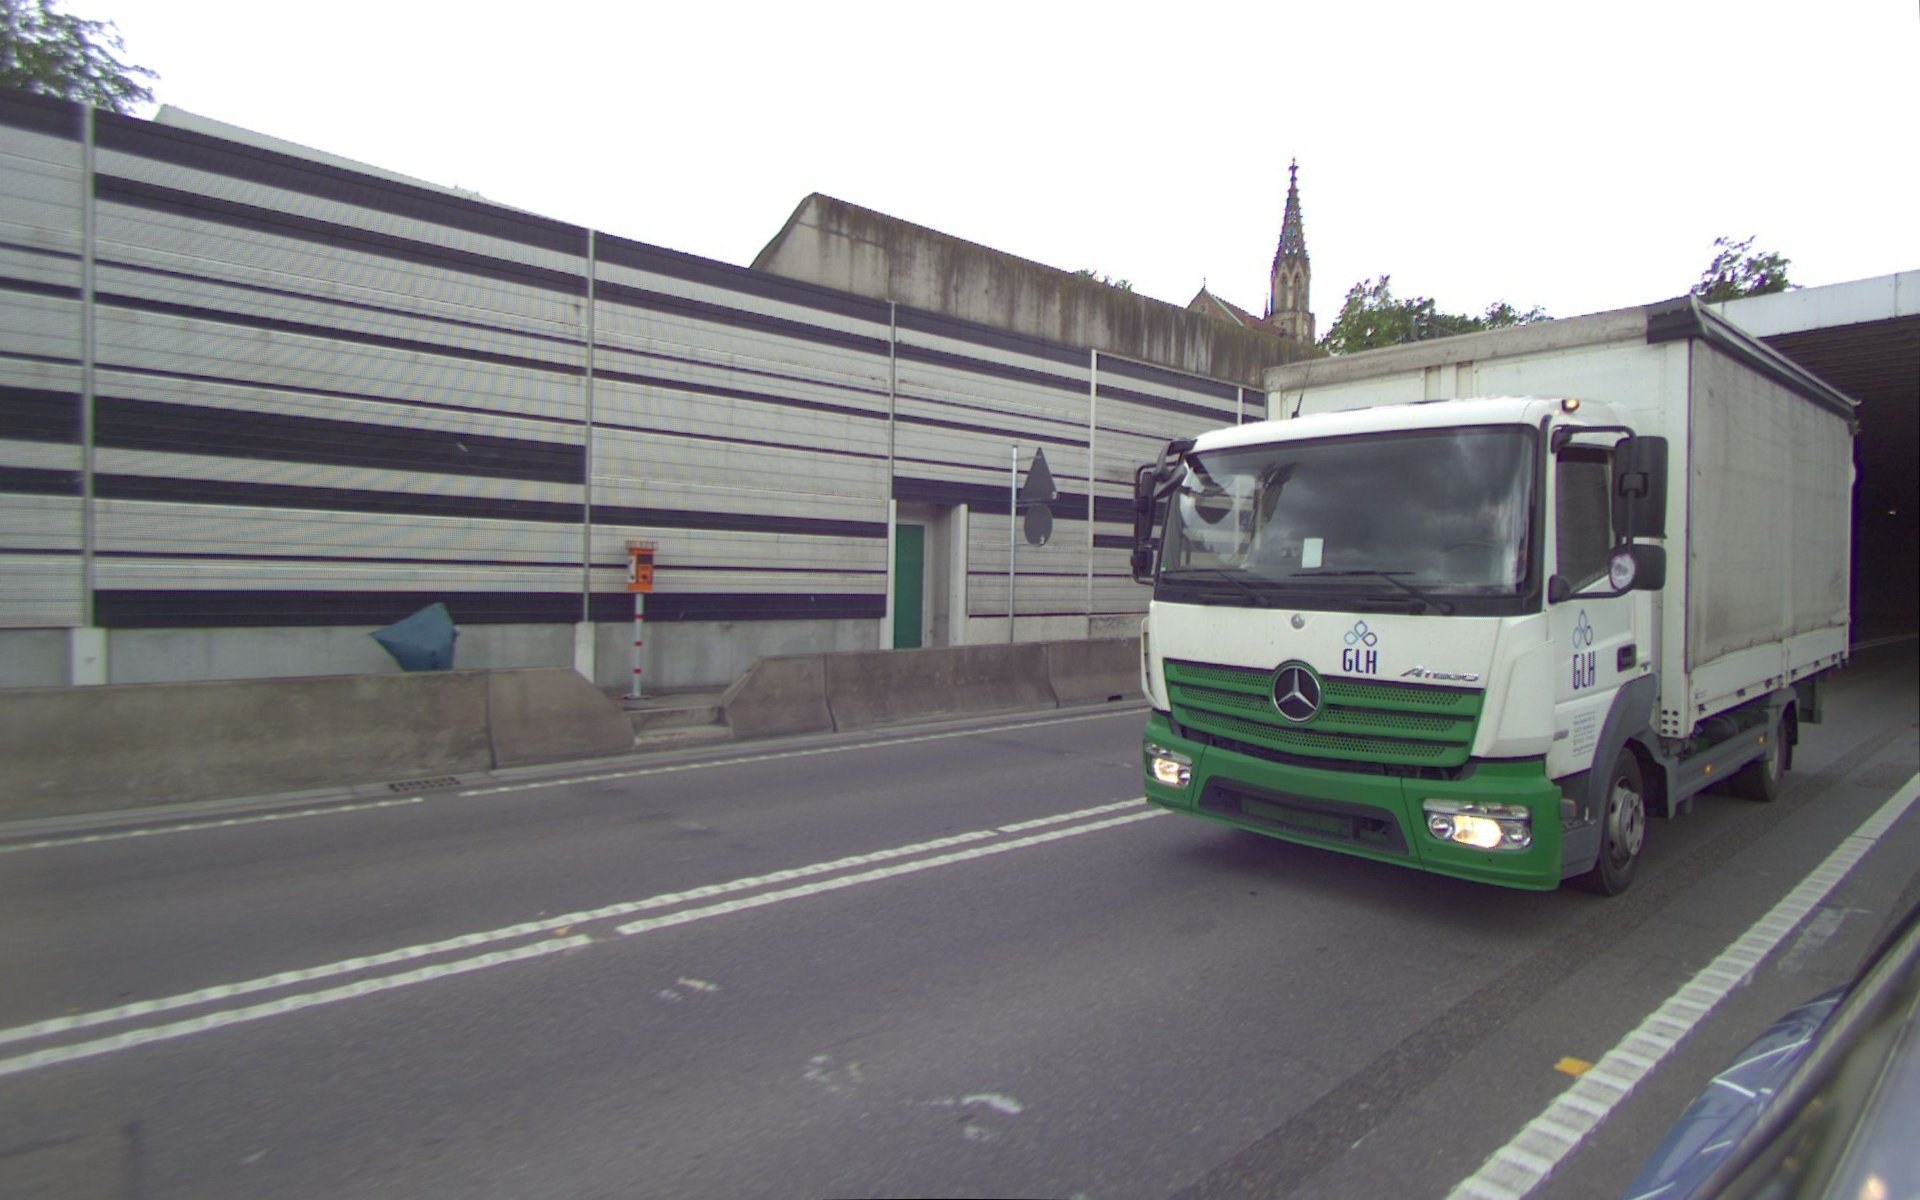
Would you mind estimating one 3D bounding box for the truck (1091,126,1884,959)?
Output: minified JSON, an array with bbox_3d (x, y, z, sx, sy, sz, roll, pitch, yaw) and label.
[{"bbox_3d":[4.382,-0.263,7.376,7.286,3.280,2.634,0,1,-41],"label":"truck"}]
